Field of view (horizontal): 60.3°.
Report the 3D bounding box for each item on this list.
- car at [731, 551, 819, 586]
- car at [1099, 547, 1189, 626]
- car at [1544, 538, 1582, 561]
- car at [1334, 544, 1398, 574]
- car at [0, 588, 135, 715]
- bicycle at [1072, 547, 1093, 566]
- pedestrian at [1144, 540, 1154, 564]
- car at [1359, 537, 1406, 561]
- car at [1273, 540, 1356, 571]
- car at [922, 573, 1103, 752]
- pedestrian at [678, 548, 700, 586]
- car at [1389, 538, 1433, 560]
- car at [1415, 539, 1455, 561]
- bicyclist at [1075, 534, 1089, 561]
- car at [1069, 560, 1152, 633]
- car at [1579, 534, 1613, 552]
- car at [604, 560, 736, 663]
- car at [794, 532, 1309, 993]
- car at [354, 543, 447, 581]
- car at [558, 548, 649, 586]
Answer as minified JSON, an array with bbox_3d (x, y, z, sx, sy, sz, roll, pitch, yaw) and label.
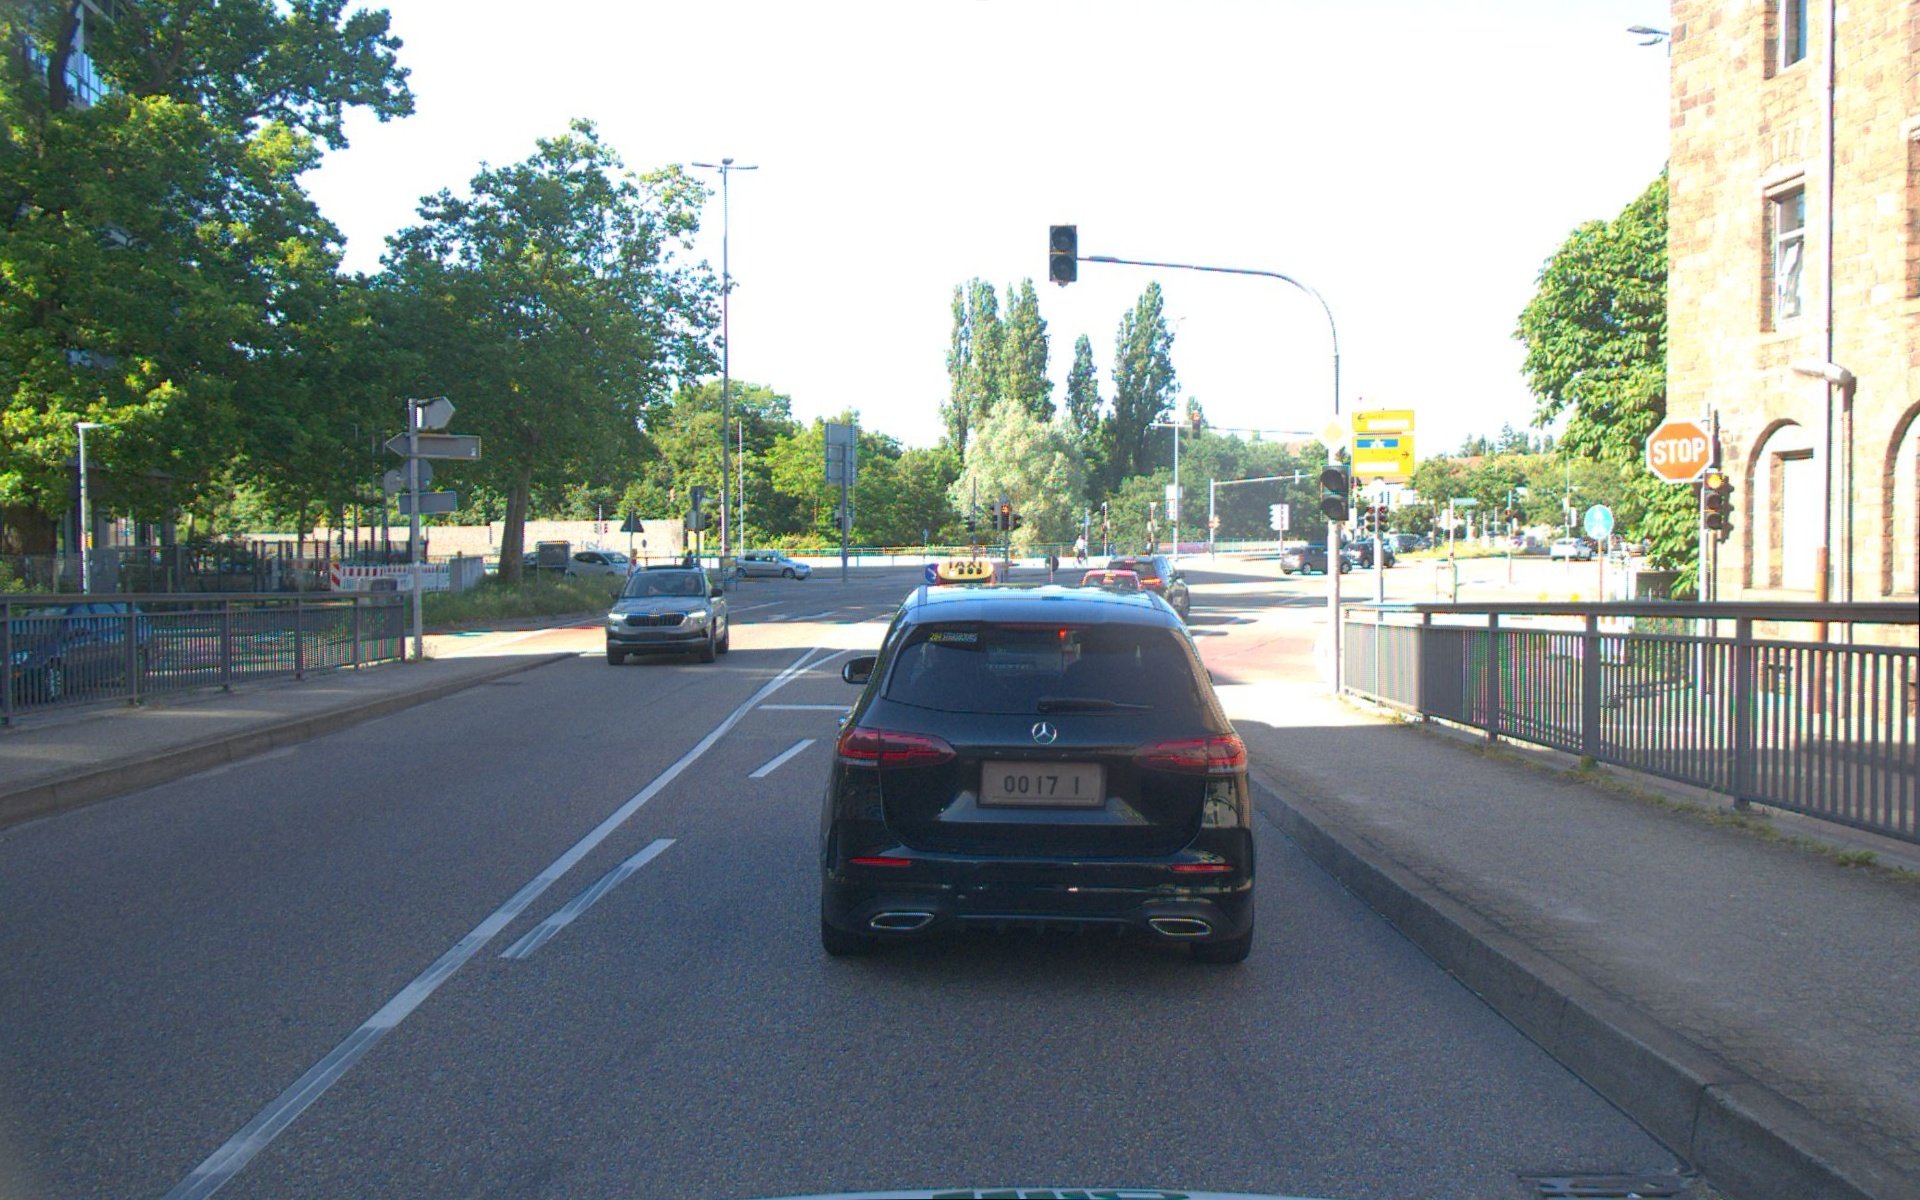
[{"bbox_3d":[-9.141,-1.566,81.708,3.902,1.658,1.893,0,1,12],"label":"car"},{"bbox_3d":[5.067,-0.419,45.075,1.685,1.843,4.302,1,4,17],"label":"car"},{"bbox_3d":[39.906,-3.337,109.371,1.954,1.389,4.312,0,3,26],"label":"car"},{"bbox_3d":[23.428,-2.364,95.398,1.858,1.574,3.973,1,0,43],"label":"car"},{"bbox_3d":[-14.763,0.729,25.792,1.814,1.722,4.000,0,2,-1],"label":"car"},{"bbox_3d":[7.254,-2.568,98.064,0.515,1.068,1.988,-1,2,27],"label":"bicycle"},{"bbox_3d":[12.985,-3.289,113.426,0.443,1.613,0.499,0,2,40],"label":"pedestrian"},{"bbox_3d":[29.432,-3.537,115.165,1.846,1.605,3.987,1,2,35],"label":"car"},{"bbox_3d":[18.267,-2.298,85.180,3.931,1.524,1.733,0,0,-22],"label":"car"},{"bbox_3d":[0.519,0.538,16.720,1.606,1.556,3.475,-1,2,1],"label":"car"},{"bbox_3d":[-11.111,-1.359,67.835,0.690,1.552,0.744,1,1,10],"label":"pedestrian"},{"bbox_3d":[32.834,-3.724,120.374,1.846,1.605,3.987,1,2,35],"label":"car"},{"bbox_3d":[36.679,-3.860,127.631,1.846,1.605,3.987,1,2,35],"label":"car"},{"bbox_3d":[7.253,-3.110,98.041,0.515,1.578,0.806,-1,1,27],"label":"bicyclist"},{"bbox_3d":[3.638,-0.121,39.450,1.685,1.548,3.490,0,3,10],"label":"car"},{"bbox_3d":[50.584,-4.567,131.530,1.845,1.317,4.586,0,3,30],"label":"car"},{"bbox_3d":[-5.013,0.158,29.054,1.768,1.651,3.998,-1,1,-3],"label":"car"},{"bbox_3d":[0.305,0.563,7.977,1.839,1.641,4.000,1,1,-1],"label":"car"},{"bbox_3d":[-28.359,-1.915,83.754,4.797,1.825,1.918,0,2,34],"label":"car"},{"bbox_3d":[-16.287,-1.509,75.559,3.914,1.663,1.780,0,3,31],"label":"car"}]
